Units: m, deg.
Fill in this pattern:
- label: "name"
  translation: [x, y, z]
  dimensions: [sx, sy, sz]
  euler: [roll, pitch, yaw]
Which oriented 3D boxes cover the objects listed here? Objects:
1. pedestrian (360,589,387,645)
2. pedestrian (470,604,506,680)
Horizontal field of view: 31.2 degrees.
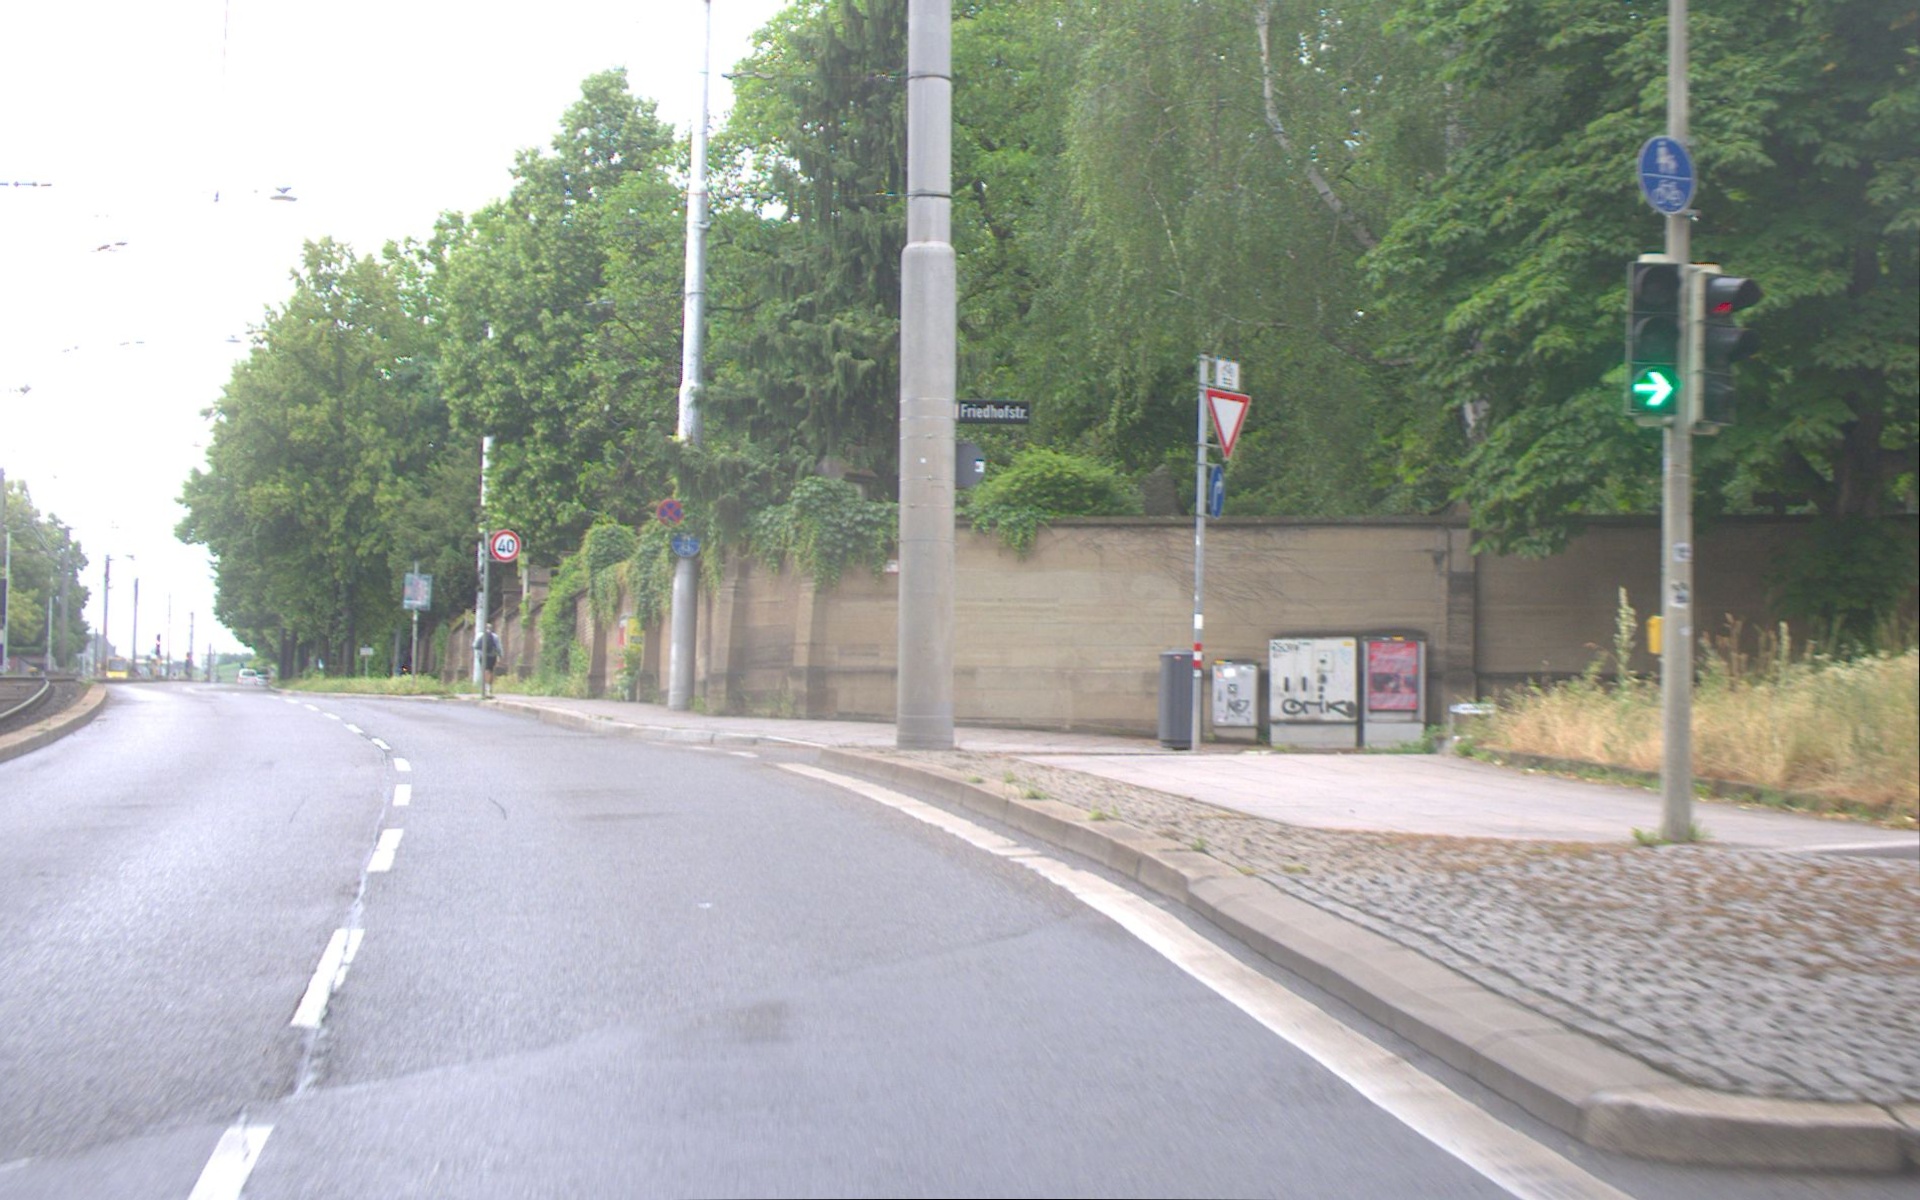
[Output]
- label: "pedestrian"
  translation: [-18.287, 0.531, 107.157]
  dimensions: [0.719, 1.682, 0.729]
  euler: [3, -2, -12]
- label: "pedestrian"
  translation: [-11.665, 1.039, 84.999]
  dimensions: [0.719, 1.844, 0.783]
  euler: [3, -2, -12]
